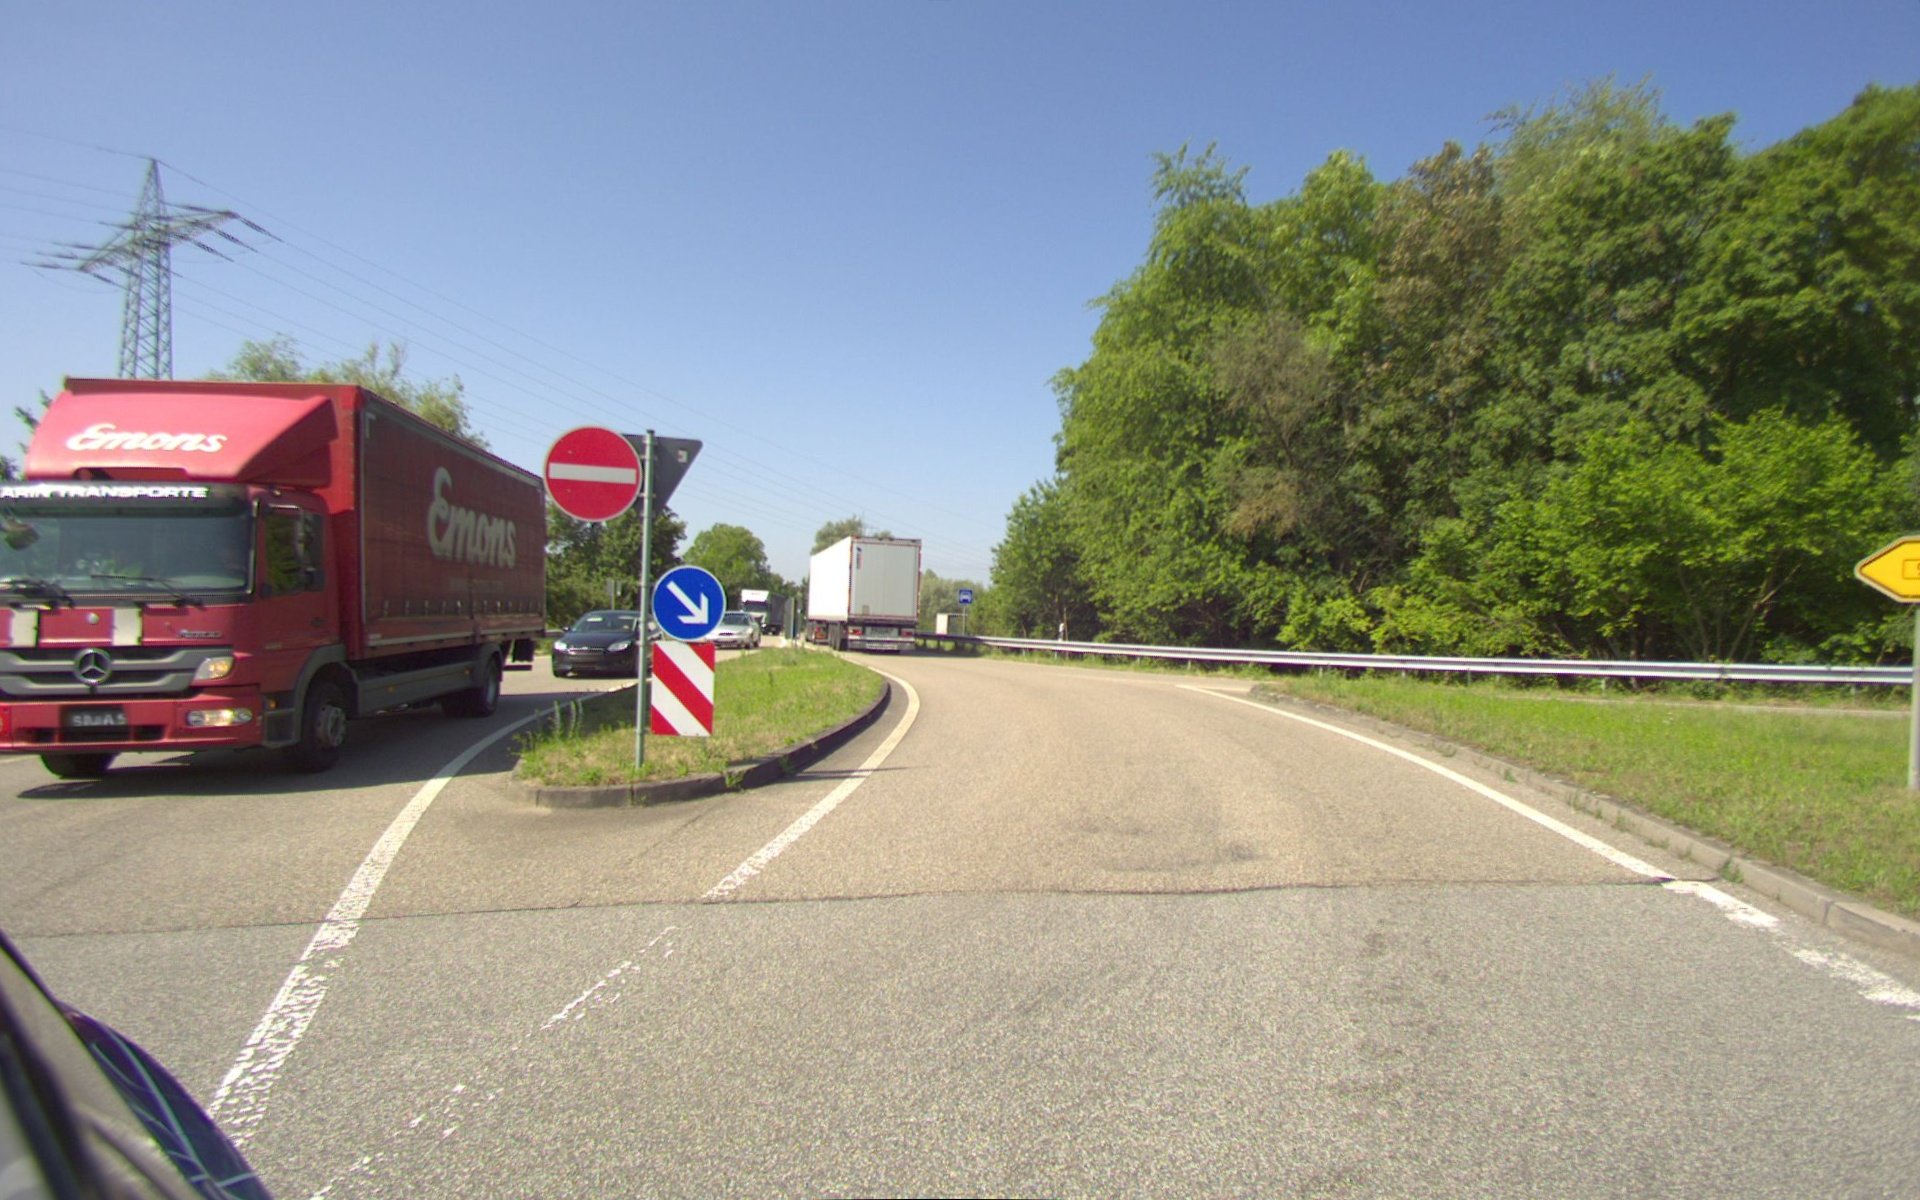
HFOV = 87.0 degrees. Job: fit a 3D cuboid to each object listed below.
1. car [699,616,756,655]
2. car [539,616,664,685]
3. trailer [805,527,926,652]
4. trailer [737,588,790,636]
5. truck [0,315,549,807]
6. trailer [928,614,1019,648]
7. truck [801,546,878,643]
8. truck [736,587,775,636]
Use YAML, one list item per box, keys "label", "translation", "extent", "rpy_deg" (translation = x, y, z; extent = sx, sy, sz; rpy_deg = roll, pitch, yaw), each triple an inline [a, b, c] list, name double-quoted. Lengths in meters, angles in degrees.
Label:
- label: "car"
  translation: [-8.669, 1.286, 38.087]
  extent: [1.760, 1.396, 4.386]
  rpy_deg: [0, -1, -8]
- label: "car"
  translation: [-7.977, 1.068, 22.882]
  extent: [1.761, 1.425, 4.005]
  rpy_deg: [0, -1, -6]
- label: "trailer"
  translation: [-4.223, -0.261, 41.022]
  extent: [2.848, 4.197, 14.018]
  rpy_deg: [0, -1, -14]
- label: "trailer"
  translation: [-19.173, 1.270, 99.883]
  extent: [2.888, 4.272, 13.986]
  rpy_deg: [2, -2, -2]
- label: "truck"
  translation: [-7.479, -0.222, 12.225]
  extent: [2.648, 3.689, 9.280]
  rpy_deg: [0, -1, -9]
- label: "trailer"
  translation: [2.065, 4.400, 142.773]
  extent: [13.751, 4.300, 2.966]
  rpy_deg: [4, -2, -37]
- label: "truck"
  translation: [-5.696, -0.207, 47.082]
  extent: [2.832, 4.205, 5.986]
  rpy_deg: [0, -1, -13]
- label: "truck"
  translation: [-18.845, 1.099, 93.420]
  extent: [2.895, 4.270, 5.741]
  rpy_deg: [2, -2, -7]
